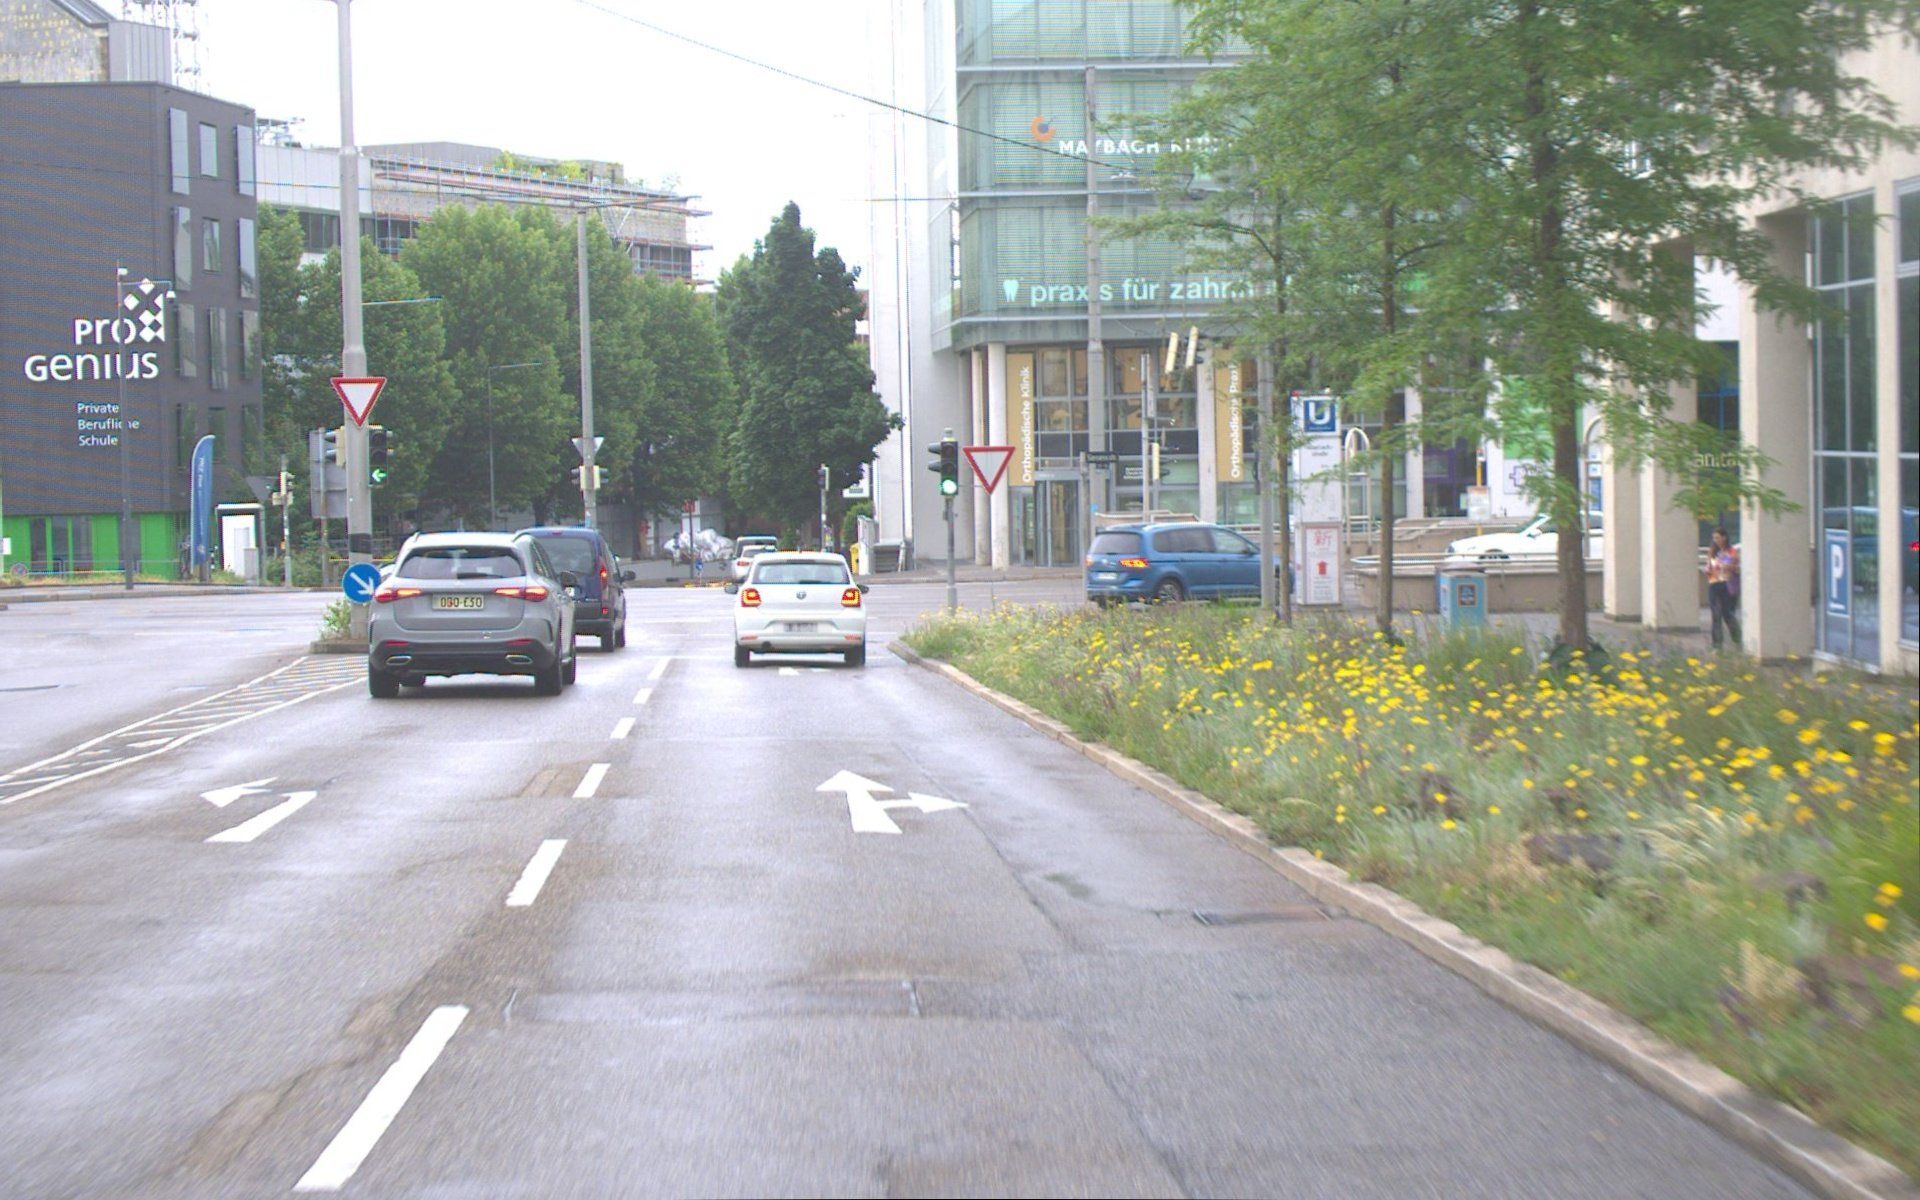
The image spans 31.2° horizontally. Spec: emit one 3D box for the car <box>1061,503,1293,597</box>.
[{"bbox_3d":[4.109,-0.974,64.864,3.988,1.568,2.000,-3,4,-36],"label":"car"}]

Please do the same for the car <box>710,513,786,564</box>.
[{"bbox_3d":[-7.412,-2.143,119.912,1.993,1.711,4.001,0,1,-13],"label":"car"}]

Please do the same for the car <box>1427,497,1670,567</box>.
[{"bbox_3d":[12.894,-1.507,75.518,4.946,1.382,1.824,-1,3,-5],"label":"car"}]

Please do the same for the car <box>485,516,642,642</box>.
[{"bbox_3d":[-5.976,-0.340,51.491,1.852,1.762,4.132,-2,1,-13],"label":"car"}]

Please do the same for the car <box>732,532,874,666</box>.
[{"bbox_3d":[-2.064,-0.056,44.433,1.670,1.468,3.781,-1,4,-5],"label":"car"}]

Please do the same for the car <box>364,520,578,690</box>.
[{"bbox_3d":[-4.939,0.005,35.188,1.908,1.626,4.211,0,1,-5],"label":"car"}]

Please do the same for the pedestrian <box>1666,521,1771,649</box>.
[{"bbox_3d":[10.374,-0.219,47.020,1.084,1.706,0.875,-1,3,-35],"label":"pedestrian"}]
